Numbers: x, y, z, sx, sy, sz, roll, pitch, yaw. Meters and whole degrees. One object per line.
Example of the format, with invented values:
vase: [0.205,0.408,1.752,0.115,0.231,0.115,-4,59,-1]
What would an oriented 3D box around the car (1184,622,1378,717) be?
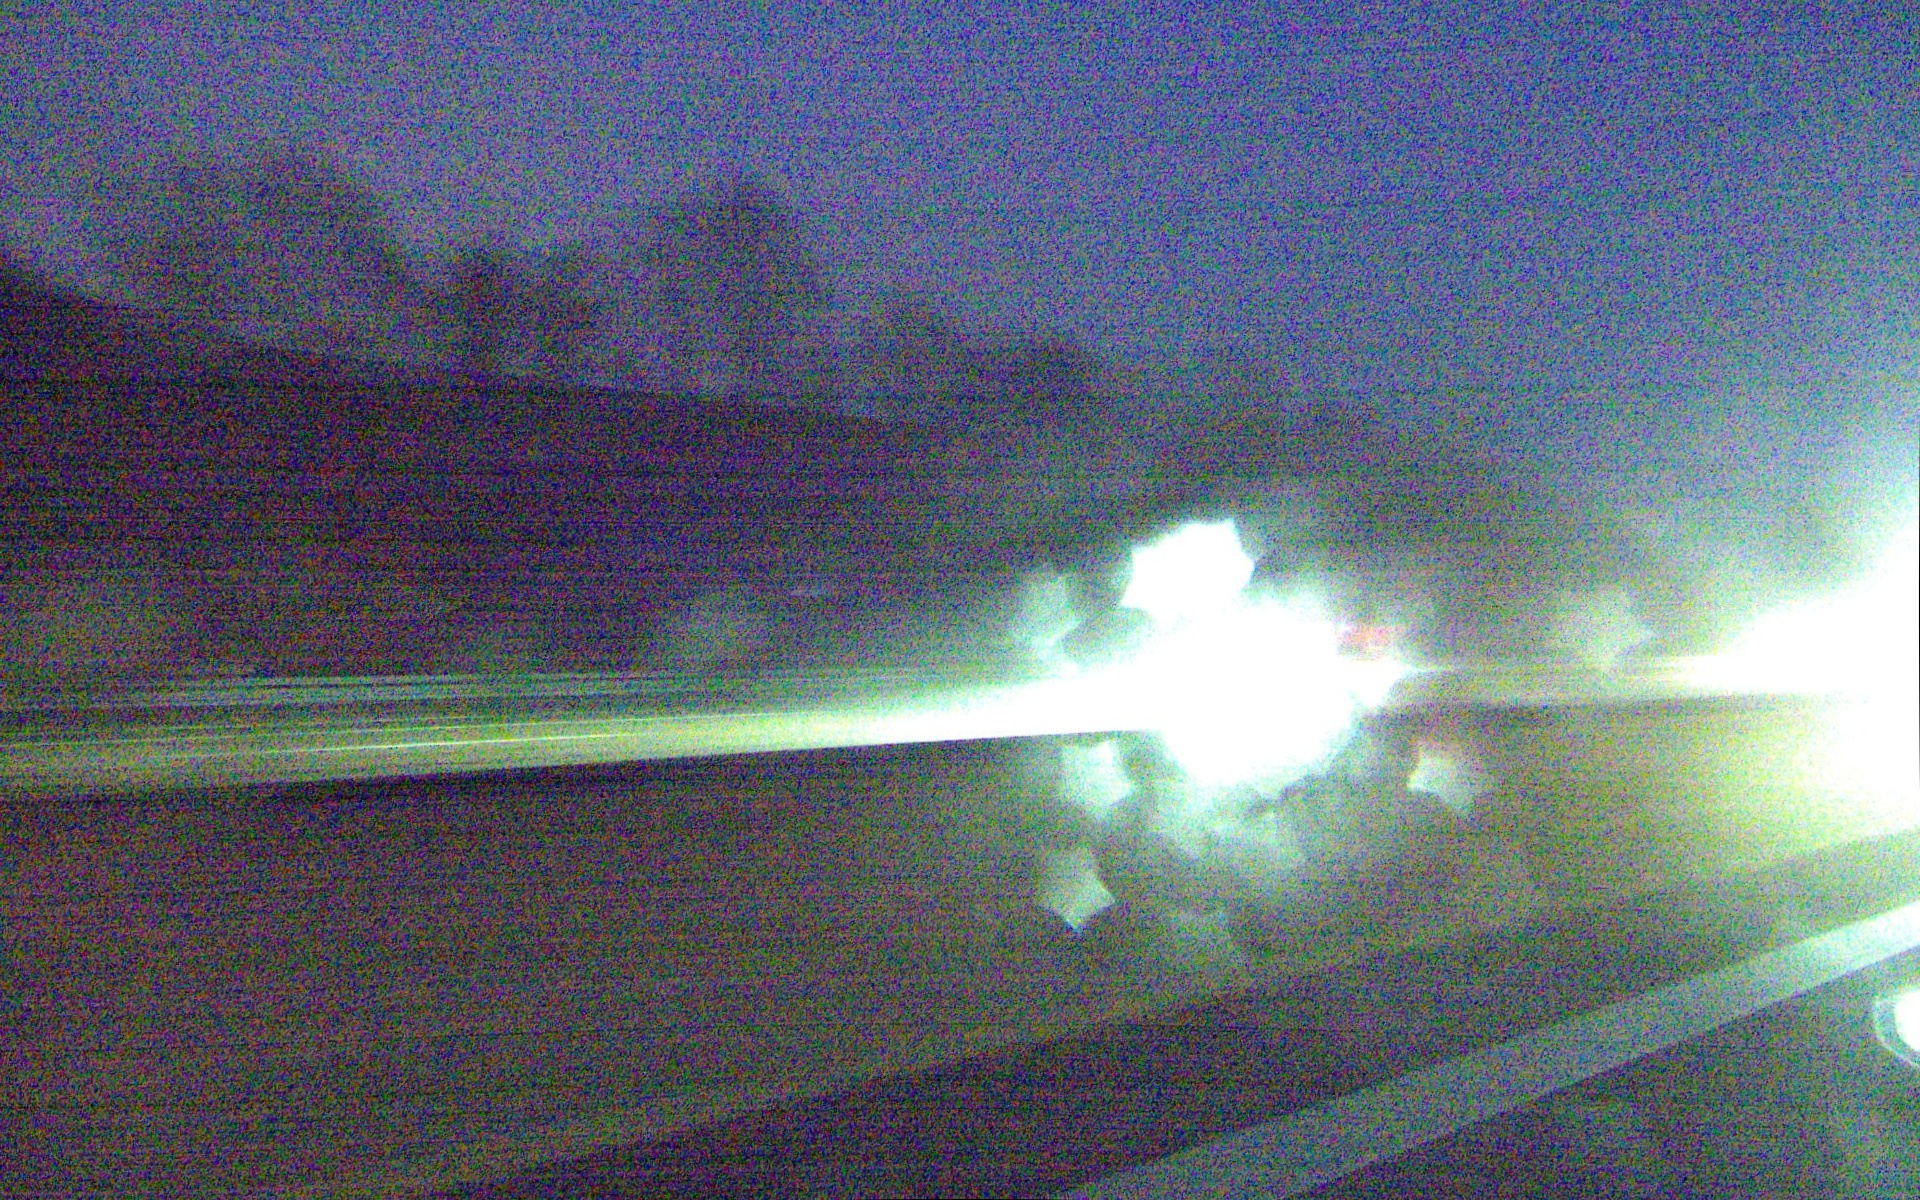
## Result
car: [7.558,1.579,23.561,4.340,2.040,1.984,2,-2,-30]
